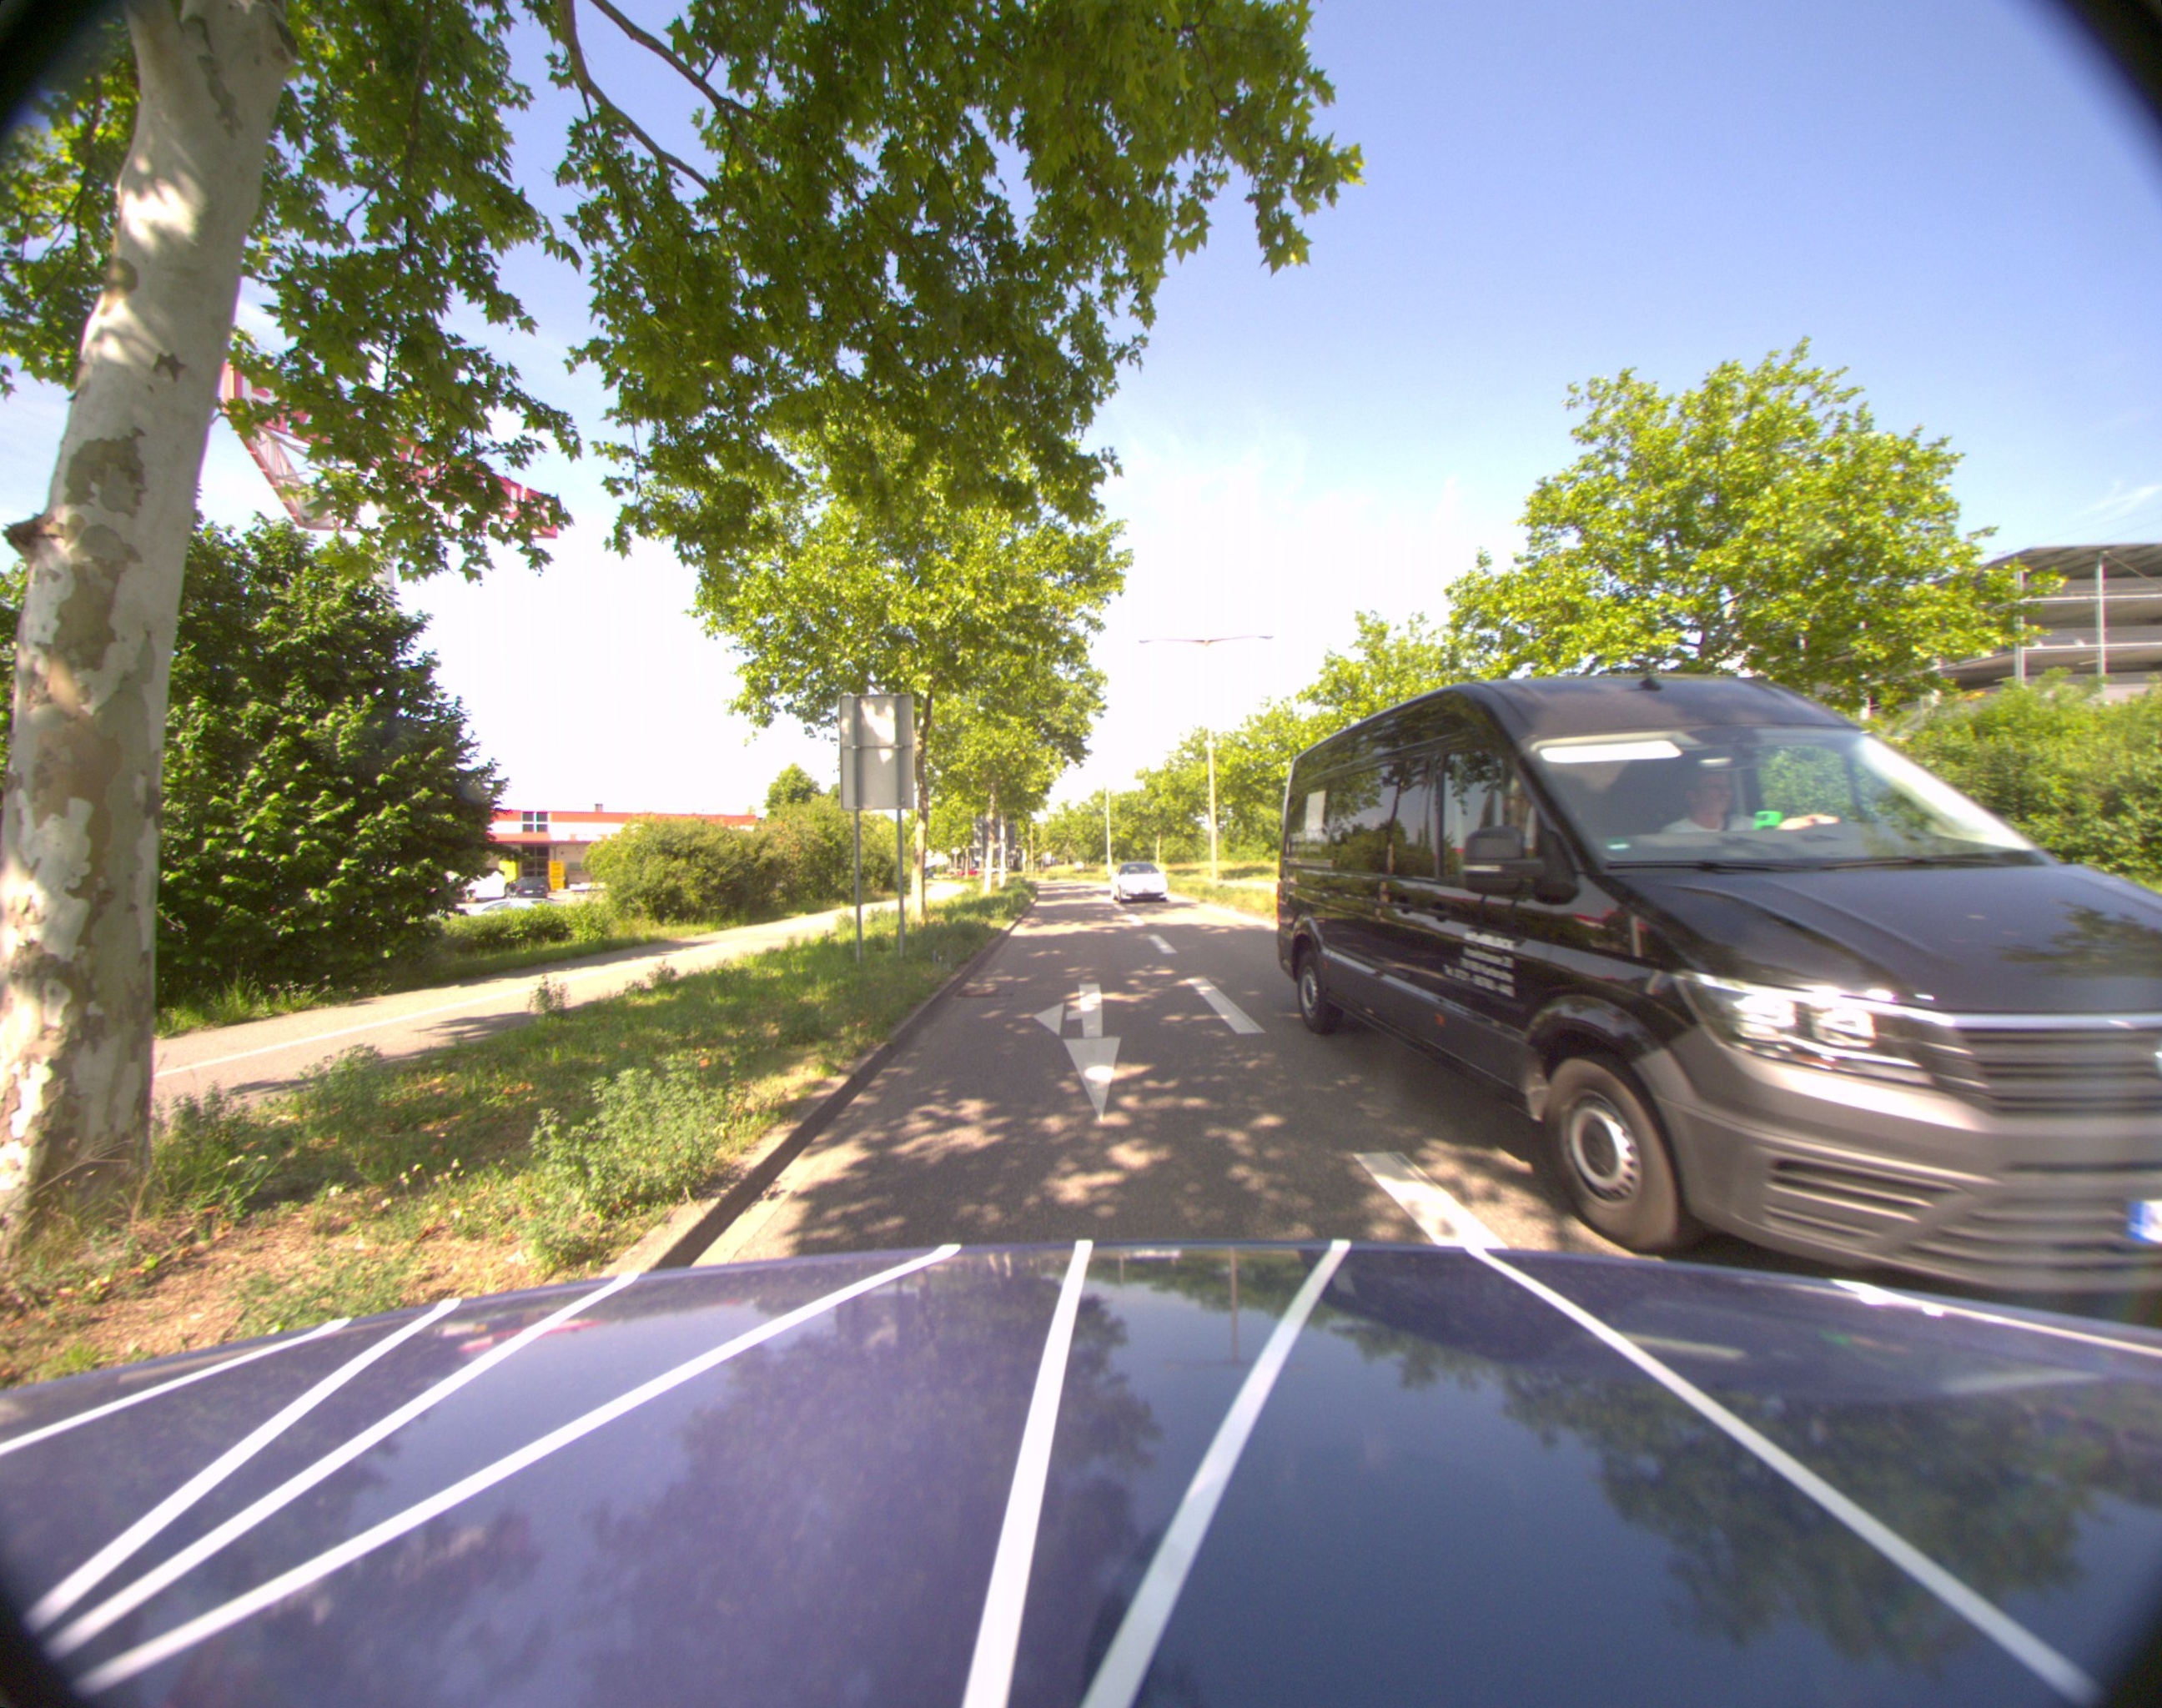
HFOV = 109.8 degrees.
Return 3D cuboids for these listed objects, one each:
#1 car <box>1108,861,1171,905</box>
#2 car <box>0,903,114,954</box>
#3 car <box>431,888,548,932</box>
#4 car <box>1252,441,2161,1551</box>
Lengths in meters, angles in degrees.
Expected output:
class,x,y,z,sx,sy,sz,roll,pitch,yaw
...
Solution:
class,x,y,z,sx,sy,sz,roll,pitch,yaw
car,2.214,1.083,29.912,1.824,1.512,4.207,-2,0,-4
car,-36.027,2.557,26.646,1.784,1.477,3.779,-2,0,-39
car,-21.108,1.984,27.159,3.161,1.447,1.195,-1,0,-2
car,2.818,0.316,4.870,2.021,2.592,6.168,-2,0,1
